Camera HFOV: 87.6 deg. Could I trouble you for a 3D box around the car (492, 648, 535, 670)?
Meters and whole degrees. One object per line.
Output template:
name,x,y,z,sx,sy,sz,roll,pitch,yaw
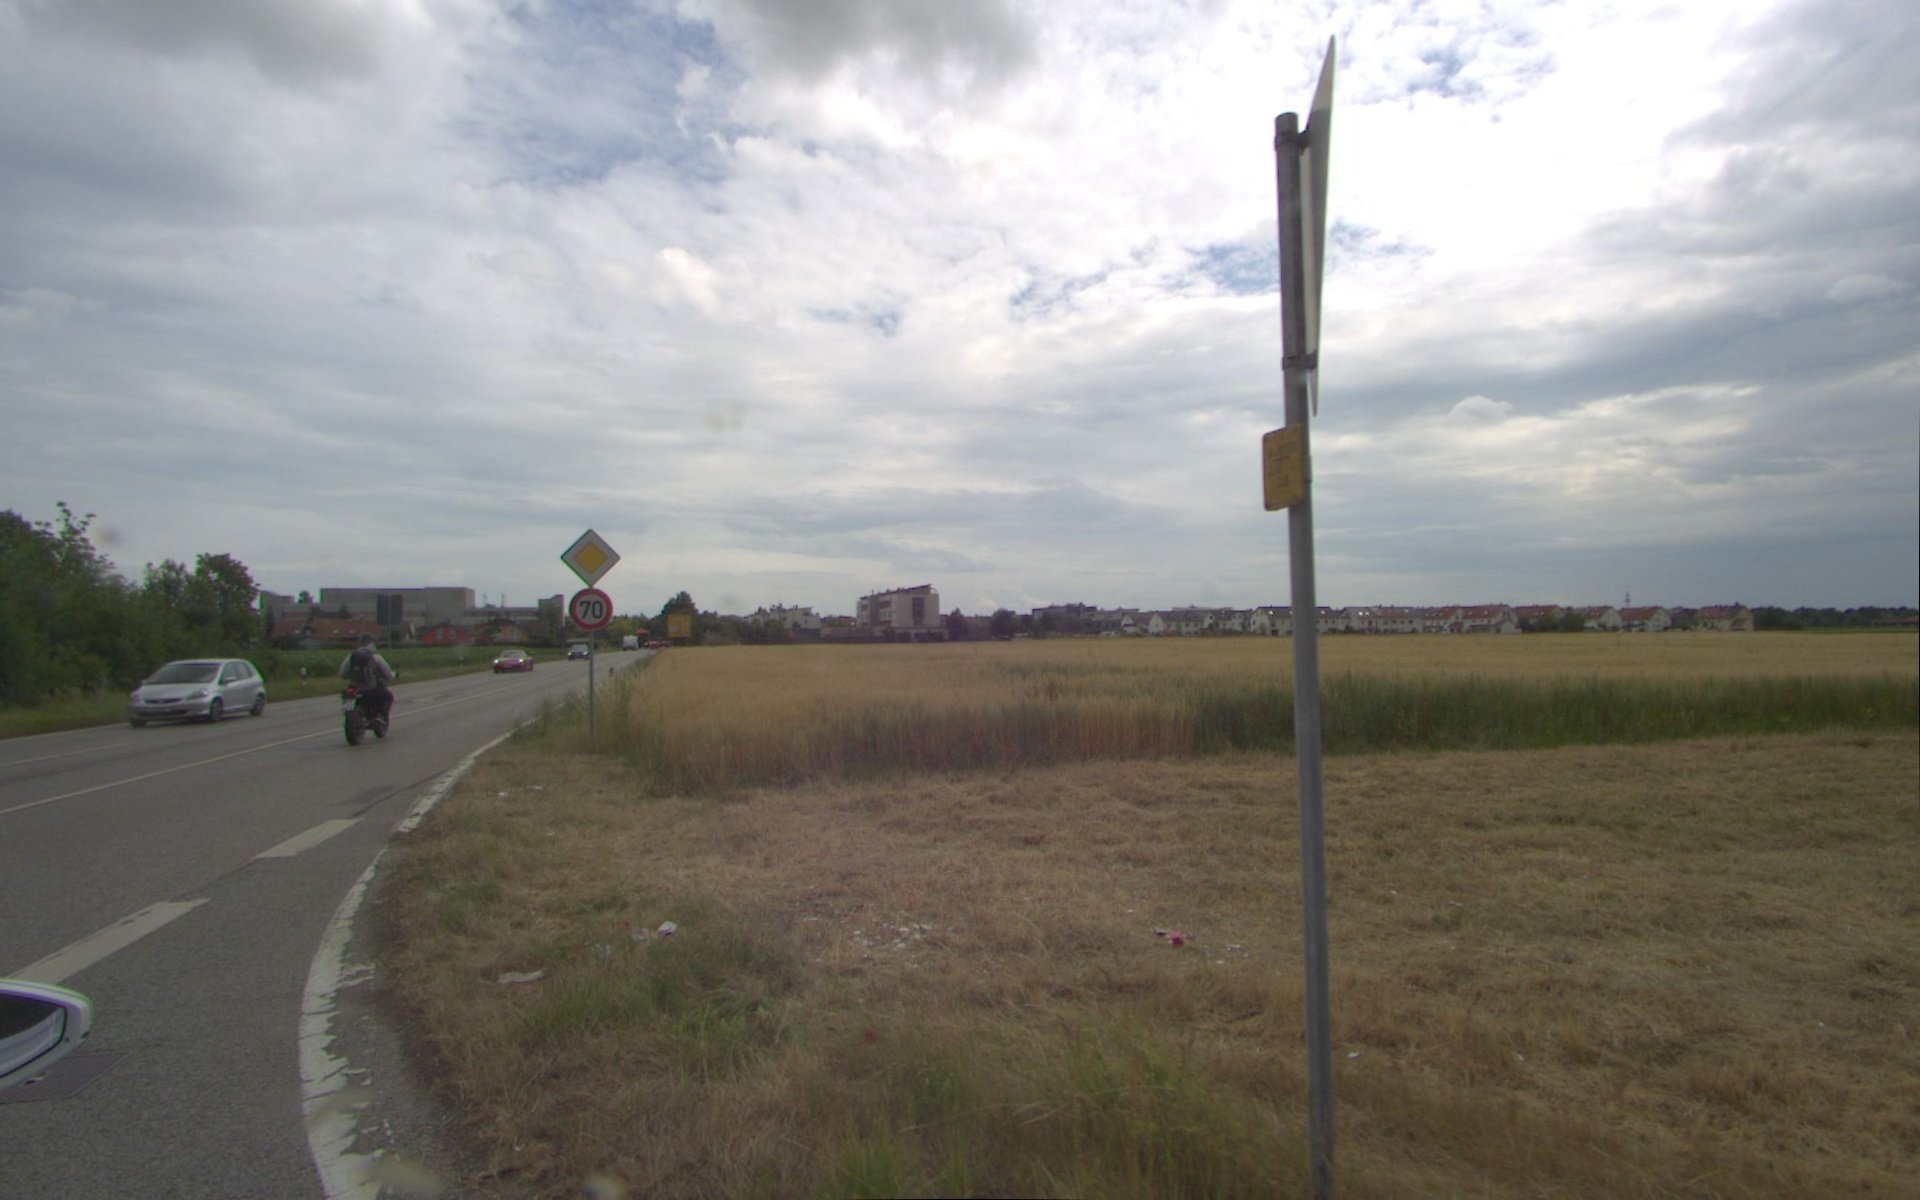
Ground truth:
car,-27.614,3.648,62.037,1.745,1.256,4.207,-1,-2,-15

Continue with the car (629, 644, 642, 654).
car,-57.336,8.590,176.949,1.964,1.721,4.671,0,-2,-15

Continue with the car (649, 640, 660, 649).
car,-58.866,8.604,192.921,1.830,1.586,3.997,0,-2,-13

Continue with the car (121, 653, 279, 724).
car,-18.338,2.075,24.377,1.704,1.450,3.930,-2,-2,-16

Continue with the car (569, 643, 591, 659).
car,-36.982,4.989,97.512,1.644,1.447,4.298,-2,-2,-16

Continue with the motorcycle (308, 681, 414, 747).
motorcycle,-9.680,1.811,16.277,0.927,0.901,2.144,0,-2,-15

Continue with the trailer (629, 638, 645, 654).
trailer,-58.851,8.386,182.703,2.290,2.763,7.836,0,-2,-15

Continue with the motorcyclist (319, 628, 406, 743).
motorcyclist,-9.698,1.360,16.301,0.927,1.772,1.199,0,-2,-15
